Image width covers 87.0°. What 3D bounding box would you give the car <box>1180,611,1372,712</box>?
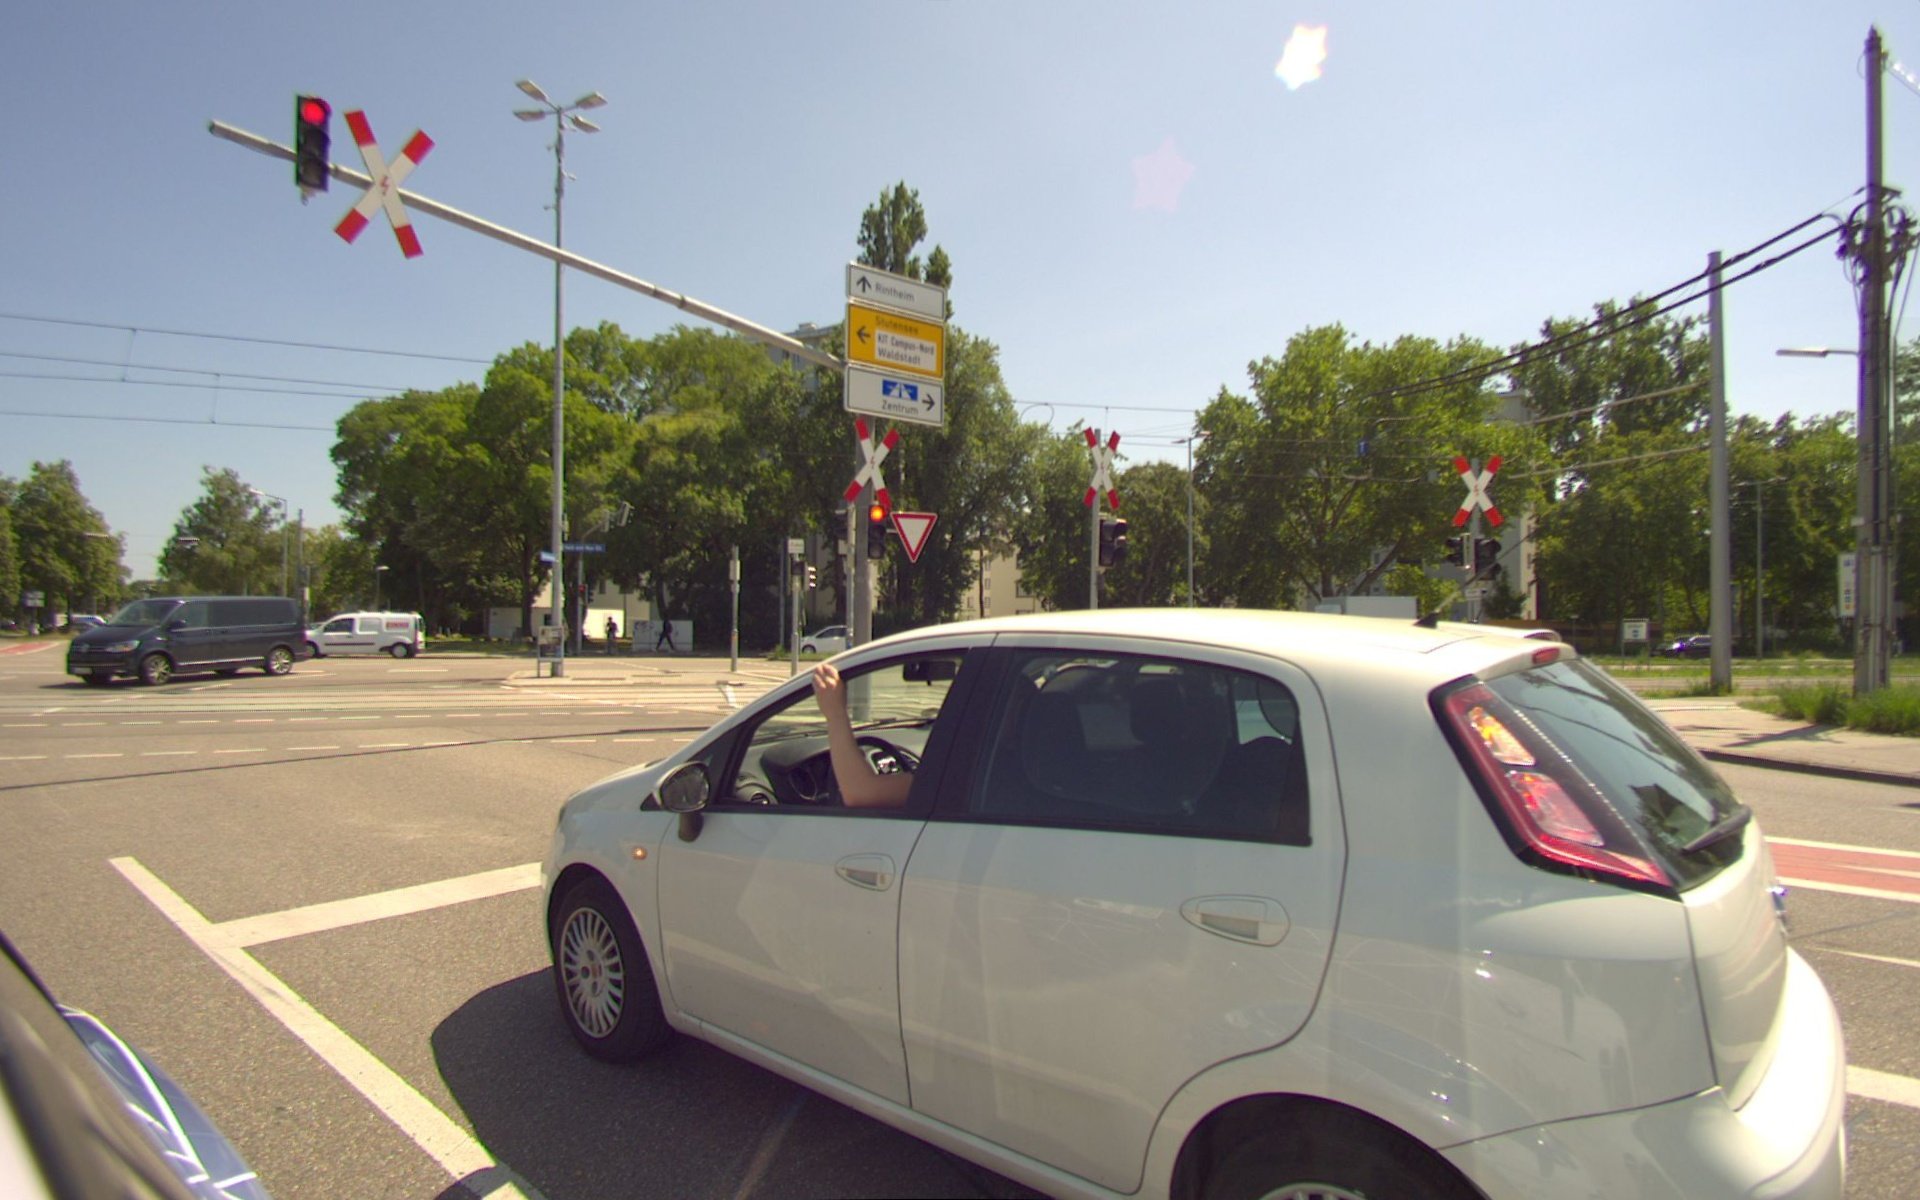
[{"bbox_3d":[5.565,1.141,18.401,1.720,1.558,4.263,3,-4,-6],"label":"car"}]

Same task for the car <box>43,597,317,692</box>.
[{"bbox_3d":[-17.814,0.924,23.461,1.927,1.945,4.818,0,0,18],"label":"car"}]

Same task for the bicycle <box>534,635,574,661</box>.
[{"bbox_3d":[-17.697,2.064,44.075,1.797,1.071,0.610,0,-1,28],"label":"bicycle"}]

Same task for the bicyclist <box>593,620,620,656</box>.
[{"bbox_3d":[-15.862,1.711,45.405,0.905,1.556,0.642,2,0,27],"label":"bicyclist"}]

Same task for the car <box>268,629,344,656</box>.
[{"bbox_3d":[-37.395,2.425,57.901,3.439,1.439,1.586,1,-4,-44],"label":"car"}]

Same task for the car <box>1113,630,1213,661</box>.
[{"bbox_3d":[8.928,2.006,44.607,3.931,1.296,1.752,1,-4,-20],"label":"car"}]

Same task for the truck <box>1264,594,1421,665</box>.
[{"bbox_3d":[20.005,1.594,53.032,7.580,3.560,2.596,1,-4,-17],"label":"truck"}]

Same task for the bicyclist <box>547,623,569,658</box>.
[{"bbox_3d":[-17.462,1.759,43.968,0.626,1.479,0.610,2,0,27],"label":"bicyclist"}]

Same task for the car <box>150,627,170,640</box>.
[{"bbox_3d":[-83.620,3.543,105.818,1.559,1.236,3.499,0,-3,-38],"label":"car"}]

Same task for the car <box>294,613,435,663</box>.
[{"bbox_3d":[-22.790,1.484,38.915,4.317,1.807,1.902,1,-4,-19],"label":"car"}]

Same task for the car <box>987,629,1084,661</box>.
[{"bbox_3d":[3.520,2.114,47.532,4.143,1.436,1.854,1,-3,-17],"label":"car"}]

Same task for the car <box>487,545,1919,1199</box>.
[{"bbox_3d":[0.308,0.691,3.055,3.960,1.448,1.749,-1,-1,42],"label":"car"}]

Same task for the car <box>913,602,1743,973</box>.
[{"bbox_3d":[1.912,0.807,6.159,4.410,1.467,1.772,-1,-3,41],"label":"car"}]

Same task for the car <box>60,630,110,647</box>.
[{"bbox_3d":[-80.100,3.546,92.657,3.437,1.487,1.587,1,-4,-41],"label":"car"}]

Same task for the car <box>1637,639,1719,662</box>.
[{"bbox_3d":[41.715,2.926,58.794,3.931,1.296,1.892,1,-4,-20],"label":"car"}]

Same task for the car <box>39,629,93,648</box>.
[{"bbox_3d":[-84.366,3.623,95.570,3.714,1.742,1.764,1,-4,-41],"label":"car"}]

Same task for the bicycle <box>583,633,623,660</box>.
[{"bbox_3d":[-16.014,2.073,45.436,1.797,1.071,0.610,2,0,28],"label":"bicycle"}]

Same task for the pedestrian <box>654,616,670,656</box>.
[{"bbox_3d":[-13.778,1.674,46.781,0.667,1.849,0.609,1,-1,-19],"label":"pedestrian"}]

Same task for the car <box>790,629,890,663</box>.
[{"bbox_3d":[-5.336,2.032,44.887,4.142,1.436,1.854,1,-3,-18],"label":"car"}]
